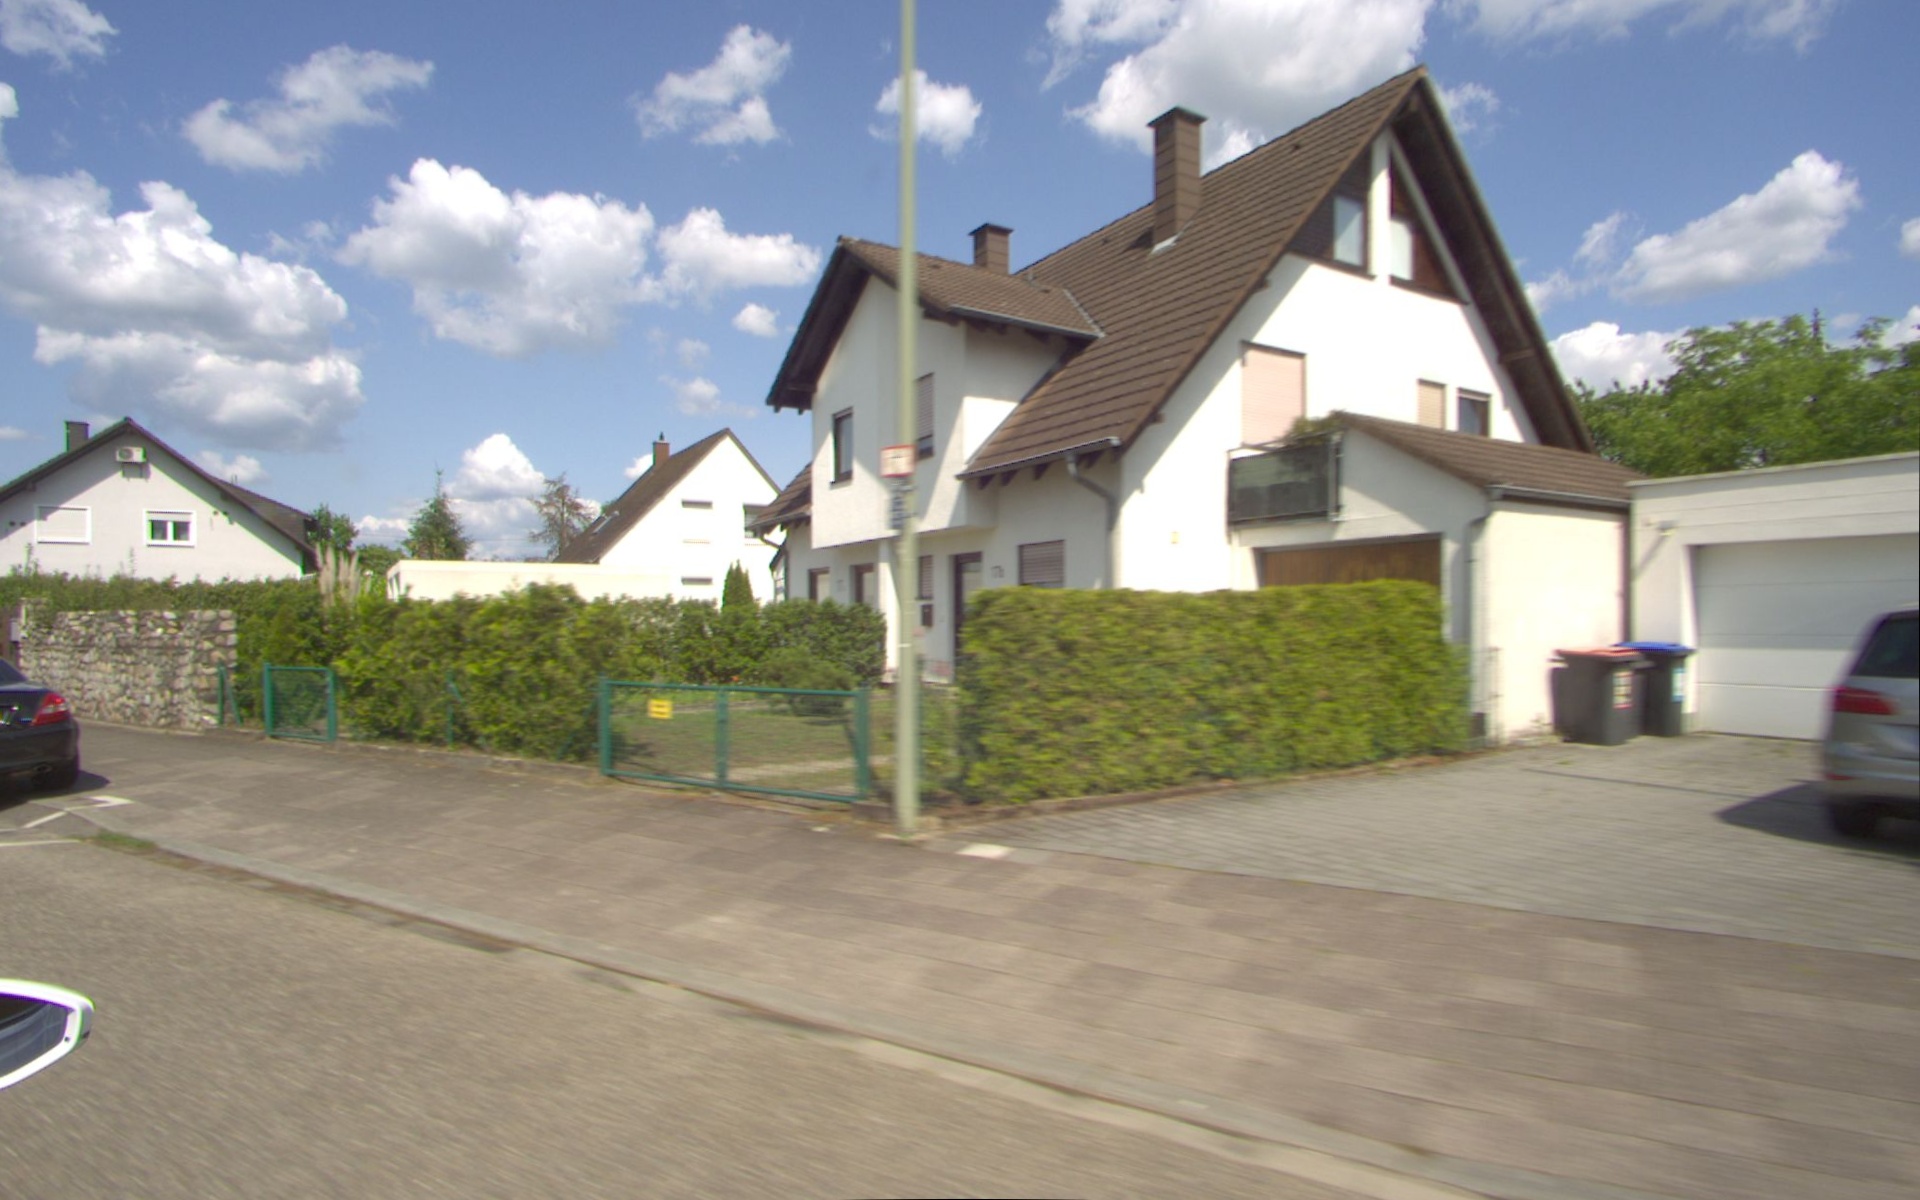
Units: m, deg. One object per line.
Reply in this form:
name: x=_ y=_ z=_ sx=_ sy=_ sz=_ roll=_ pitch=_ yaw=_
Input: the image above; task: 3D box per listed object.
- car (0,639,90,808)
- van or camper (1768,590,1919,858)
car: x=-9.633 y=1.045 z=9.048 sx=3.907 sy=1.335 sz=1.706 roll=0 pitch=-1 yaw=33
van or camper: x=7.305 y=0.717 z=6.710 sx=3.950 sy=1.550 sz=1.986 roll=0 pitch=0 yaw=-36
